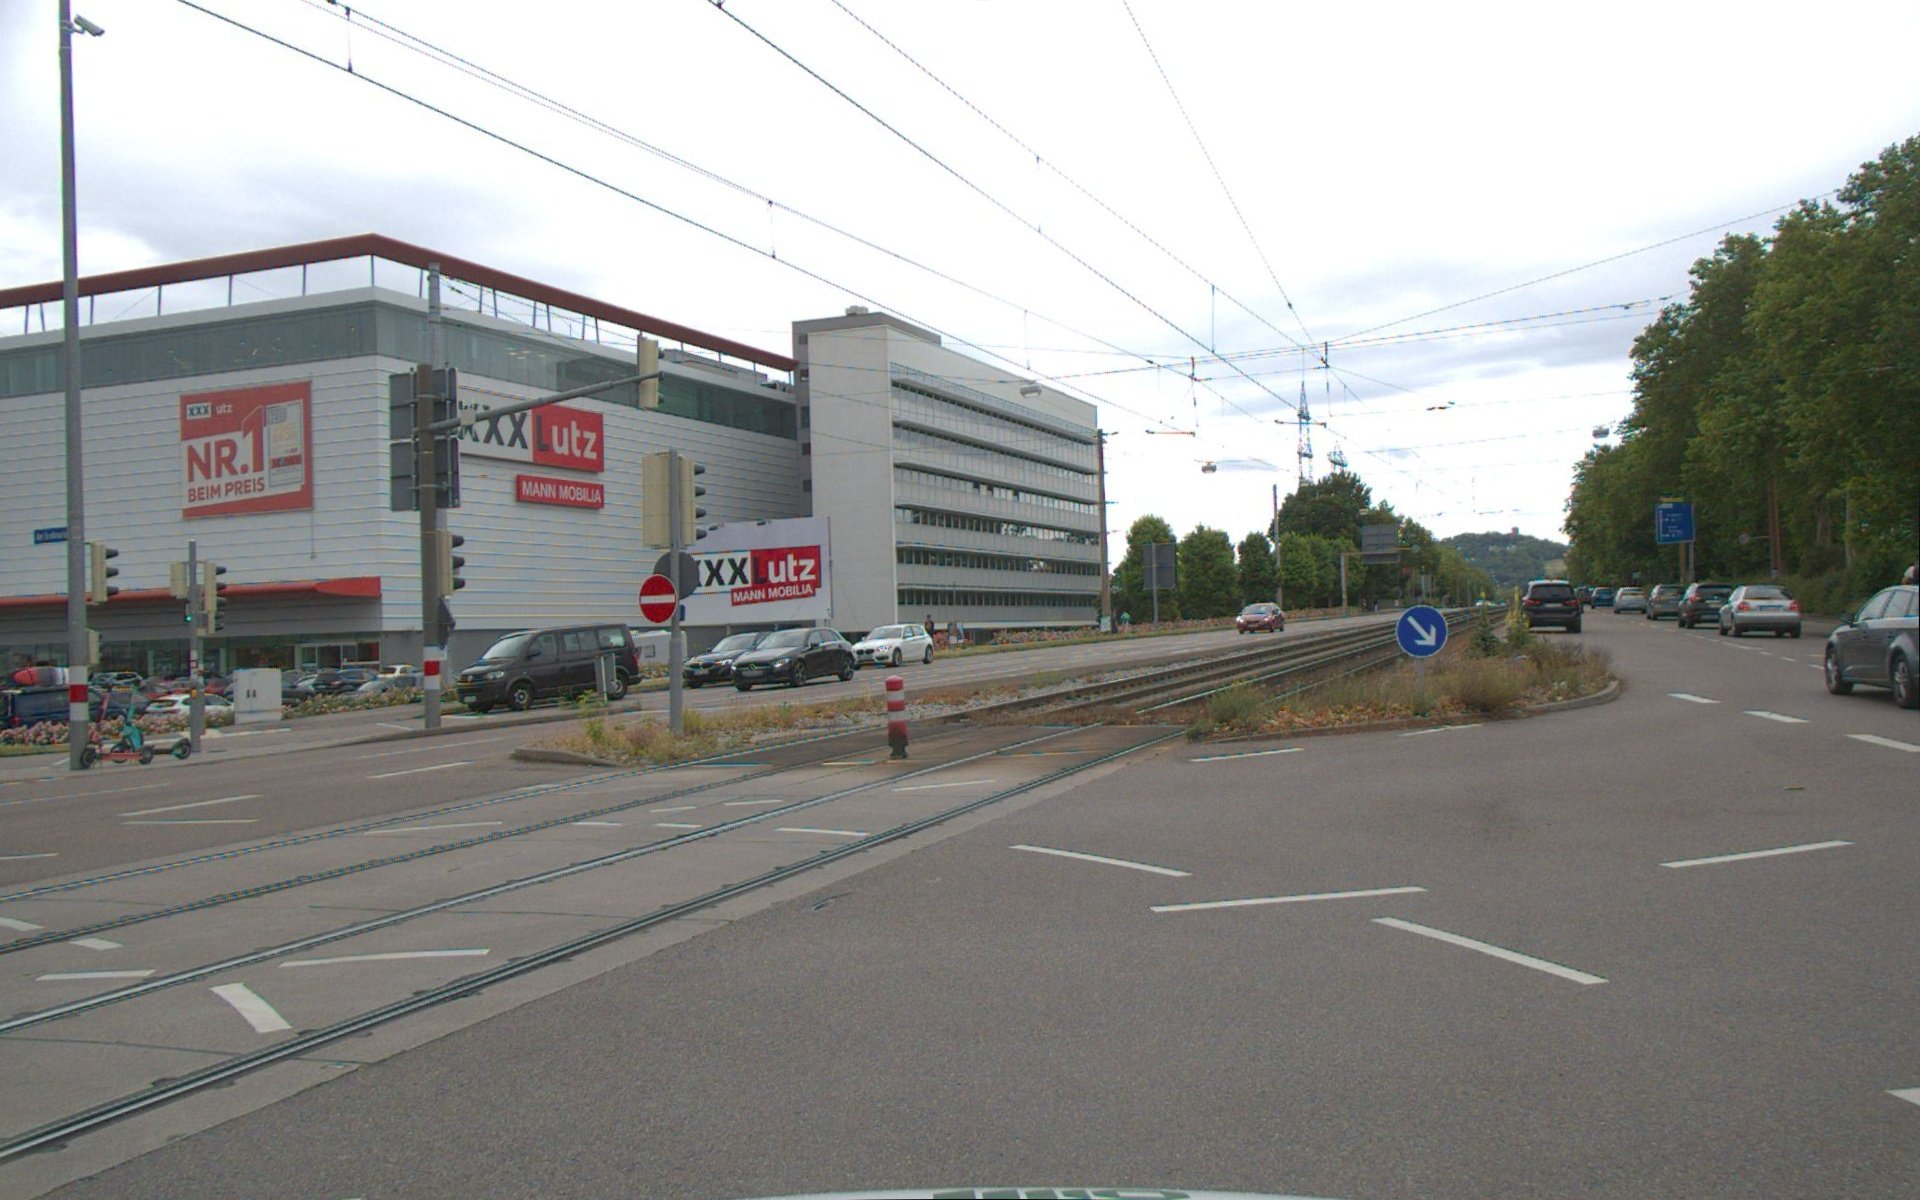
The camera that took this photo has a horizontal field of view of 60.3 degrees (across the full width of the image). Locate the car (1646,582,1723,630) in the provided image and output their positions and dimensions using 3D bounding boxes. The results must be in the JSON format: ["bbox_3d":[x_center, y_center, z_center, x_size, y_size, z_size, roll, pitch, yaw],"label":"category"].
[{"bbox_3d":[25.272,0.216,57.824,1.817,1.589,4.320,0,-1,15],"label":"car"}]

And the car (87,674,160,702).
[{"bbox_3d":[-51.734,5.436,102.309,1.787,1.581,3.805,-1,-1,22],"label":"car"}]

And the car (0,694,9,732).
[{"bbox_3d":[-42.332,4.840,69.290,1.811,1.583,3.998,-4,-2,23],"label":"car"}]

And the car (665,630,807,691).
[{"bbox_3d":[-6.436,1.724,48.020,1.924,1.489,4.317,-3,-1,27],"label":"car"}]

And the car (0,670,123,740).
[{"bbox_3d":[-33.069,3.778,59.431,2.074,2.203,5.046,-4,-2,27],"label":"car"}]

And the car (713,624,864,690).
[{"bbox_3d":[-4.302,1.422,42.145,1.796,1.489,4.203,-2,0,27],"label":"car"}]

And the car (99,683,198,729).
[{"bbox_3d":[-38.485,5.005,78.533,1.790,1.894,3.999,-4,-2,23],"label":"car"}]

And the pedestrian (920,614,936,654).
[{"bbox_3d":[-1.487,1.549,76.043,0.681,1.822,0.643,-1,-1,2],"label":"pedestrian"}]

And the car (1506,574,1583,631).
[{"bbox_3d":[18.525,0.093,52.577,1.793,1.665,4.320,-2,-1,13],"label":"car"}]

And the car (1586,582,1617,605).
[{"bbox_3d":[44.320,-0.422,114.289,1.777,1.506,3.673,-1,-1,18],"label":"car"}]

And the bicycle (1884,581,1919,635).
[{"bbox_3d":[22.935,0.170,39.377,0.799,1.205,2.525,-3,0,10],"label":"bicycle"}]

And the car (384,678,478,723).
[{"bbox_3d":[-22.945,4.349,71.855,1.841,1.695,4.001,-3,-2,19],"label":"car"}]

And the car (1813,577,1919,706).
[{"bbox_3d":[11.884,0.442,20.126,1.700,1.426,4.080,-1,0,13],"label":"car"}]

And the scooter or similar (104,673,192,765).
[{"bbox_3d":[-12.205,1.777,24.864,0.314,1.277,1.111,-6,-2,35],"label":"scooter or similar"}]

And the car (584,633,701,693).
[{"bbox_3d":[-16.759,3.281,87.798,2.704,3.042,6.948,-1,-1,23],"label":"car"}]

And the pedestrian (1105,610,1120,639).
[{"bbox_3d":[8.726,1.409,94.734,0.609,1.683,0.537,1,-2,-38],"label":"pedestrian"}]

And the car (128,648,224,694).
[{"bbox_3d":[-39.563,3.562,83.533,1.953,2.049,3.999,-3,-1,24],"label":"car"}]

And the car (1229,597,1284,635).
[{"bbox_3d":[15.093,0.795,84.060,1.952,1.758,4.000,-3,-1,21],"label":"car"}]

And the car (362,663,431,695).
[{"bbox_3d":[-31.636,4.407,92.885,1.612,1.587,3.615,-2,0,24],"label":"car"}]

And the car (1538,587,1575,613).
[{"bbox_3d":[35.133,-0.001,97.455,1.709,1.456,3.378,-1,0,14],"label":"car"}]

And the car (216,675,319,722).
[{"bbox_3d":[-31.670,4.491,75.767,1.822,1.812,4.221,-3,-1,25],"label":"car"}]

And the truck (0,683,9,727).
[{"bbox_3d":[-54.112,5.813,90.269,1.698,2.428,3.580,-3,-3,21],"label":"truck"}]

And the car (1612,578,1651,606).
[{"bbox_3d":[37.882,-0.433,93.359,1.777,1.506,3.673,-1,-1,18],"label":"car"}]

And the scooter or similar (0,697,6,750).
[{"bbox_3d":[-23.617,2.997,39.717,1.142,1.254,0.345,-2,-3,-16],"label":"scooter or similar"}]

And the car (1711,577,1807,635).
[{"bbox_3d":[22.284,0.159,46.249,1.691,1.535,3.635,-1,0,14],"label":"car"}]

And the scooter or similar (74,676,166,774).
[{"bbox_3d":[-11.968,1.774,23.588,0.455,1.277,1.015,-6,-2,35],"label":"scooter or similar"}]

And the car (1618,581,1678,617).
[{"bbox_3d":[30.939,-0.034,74.469,1.817,1.589,4.320,0,-1,13],"label":"car"}]

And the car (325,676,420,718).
[{"bbox_3d":[-25.635,4.204,72.301,1.789,1.543,4.001,-4,-1,19],"label":"car"}]

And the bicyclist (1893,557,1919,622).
[{"bbox_3d":[22.865,-0.258,39.344,0.799,1.504,1.001,-3,0,10],"label":"bicyclist"}]

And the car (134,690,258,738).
[{"bbox_3d":[-29.104,4.330,63.144,1.705,1.502,4.209,-4,-2,24],"label":"car"}]

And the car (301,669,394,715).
[{"bbox_3d":[-29.812,4.464,80.608,1.905,1.962,3.998,-4,-2,25],"label":"car"}]

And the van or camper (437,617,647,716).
[{"bbox_3d":[-10.431,1.633,41.595,2.083,2.048,4.731,-6,-2,39],"label":"van or camper"}]

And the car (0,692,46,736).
[{"bbox_3d":[-40.050,4.771,67.993,1.842,1.699,3.998,-4,-1,24],"label":"car"}]

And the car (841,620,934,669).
[{"bbox_3d":[-2.467,1.511,57.119,1.692,1.566,4.045,-1,0,22],"label":"car"}]
